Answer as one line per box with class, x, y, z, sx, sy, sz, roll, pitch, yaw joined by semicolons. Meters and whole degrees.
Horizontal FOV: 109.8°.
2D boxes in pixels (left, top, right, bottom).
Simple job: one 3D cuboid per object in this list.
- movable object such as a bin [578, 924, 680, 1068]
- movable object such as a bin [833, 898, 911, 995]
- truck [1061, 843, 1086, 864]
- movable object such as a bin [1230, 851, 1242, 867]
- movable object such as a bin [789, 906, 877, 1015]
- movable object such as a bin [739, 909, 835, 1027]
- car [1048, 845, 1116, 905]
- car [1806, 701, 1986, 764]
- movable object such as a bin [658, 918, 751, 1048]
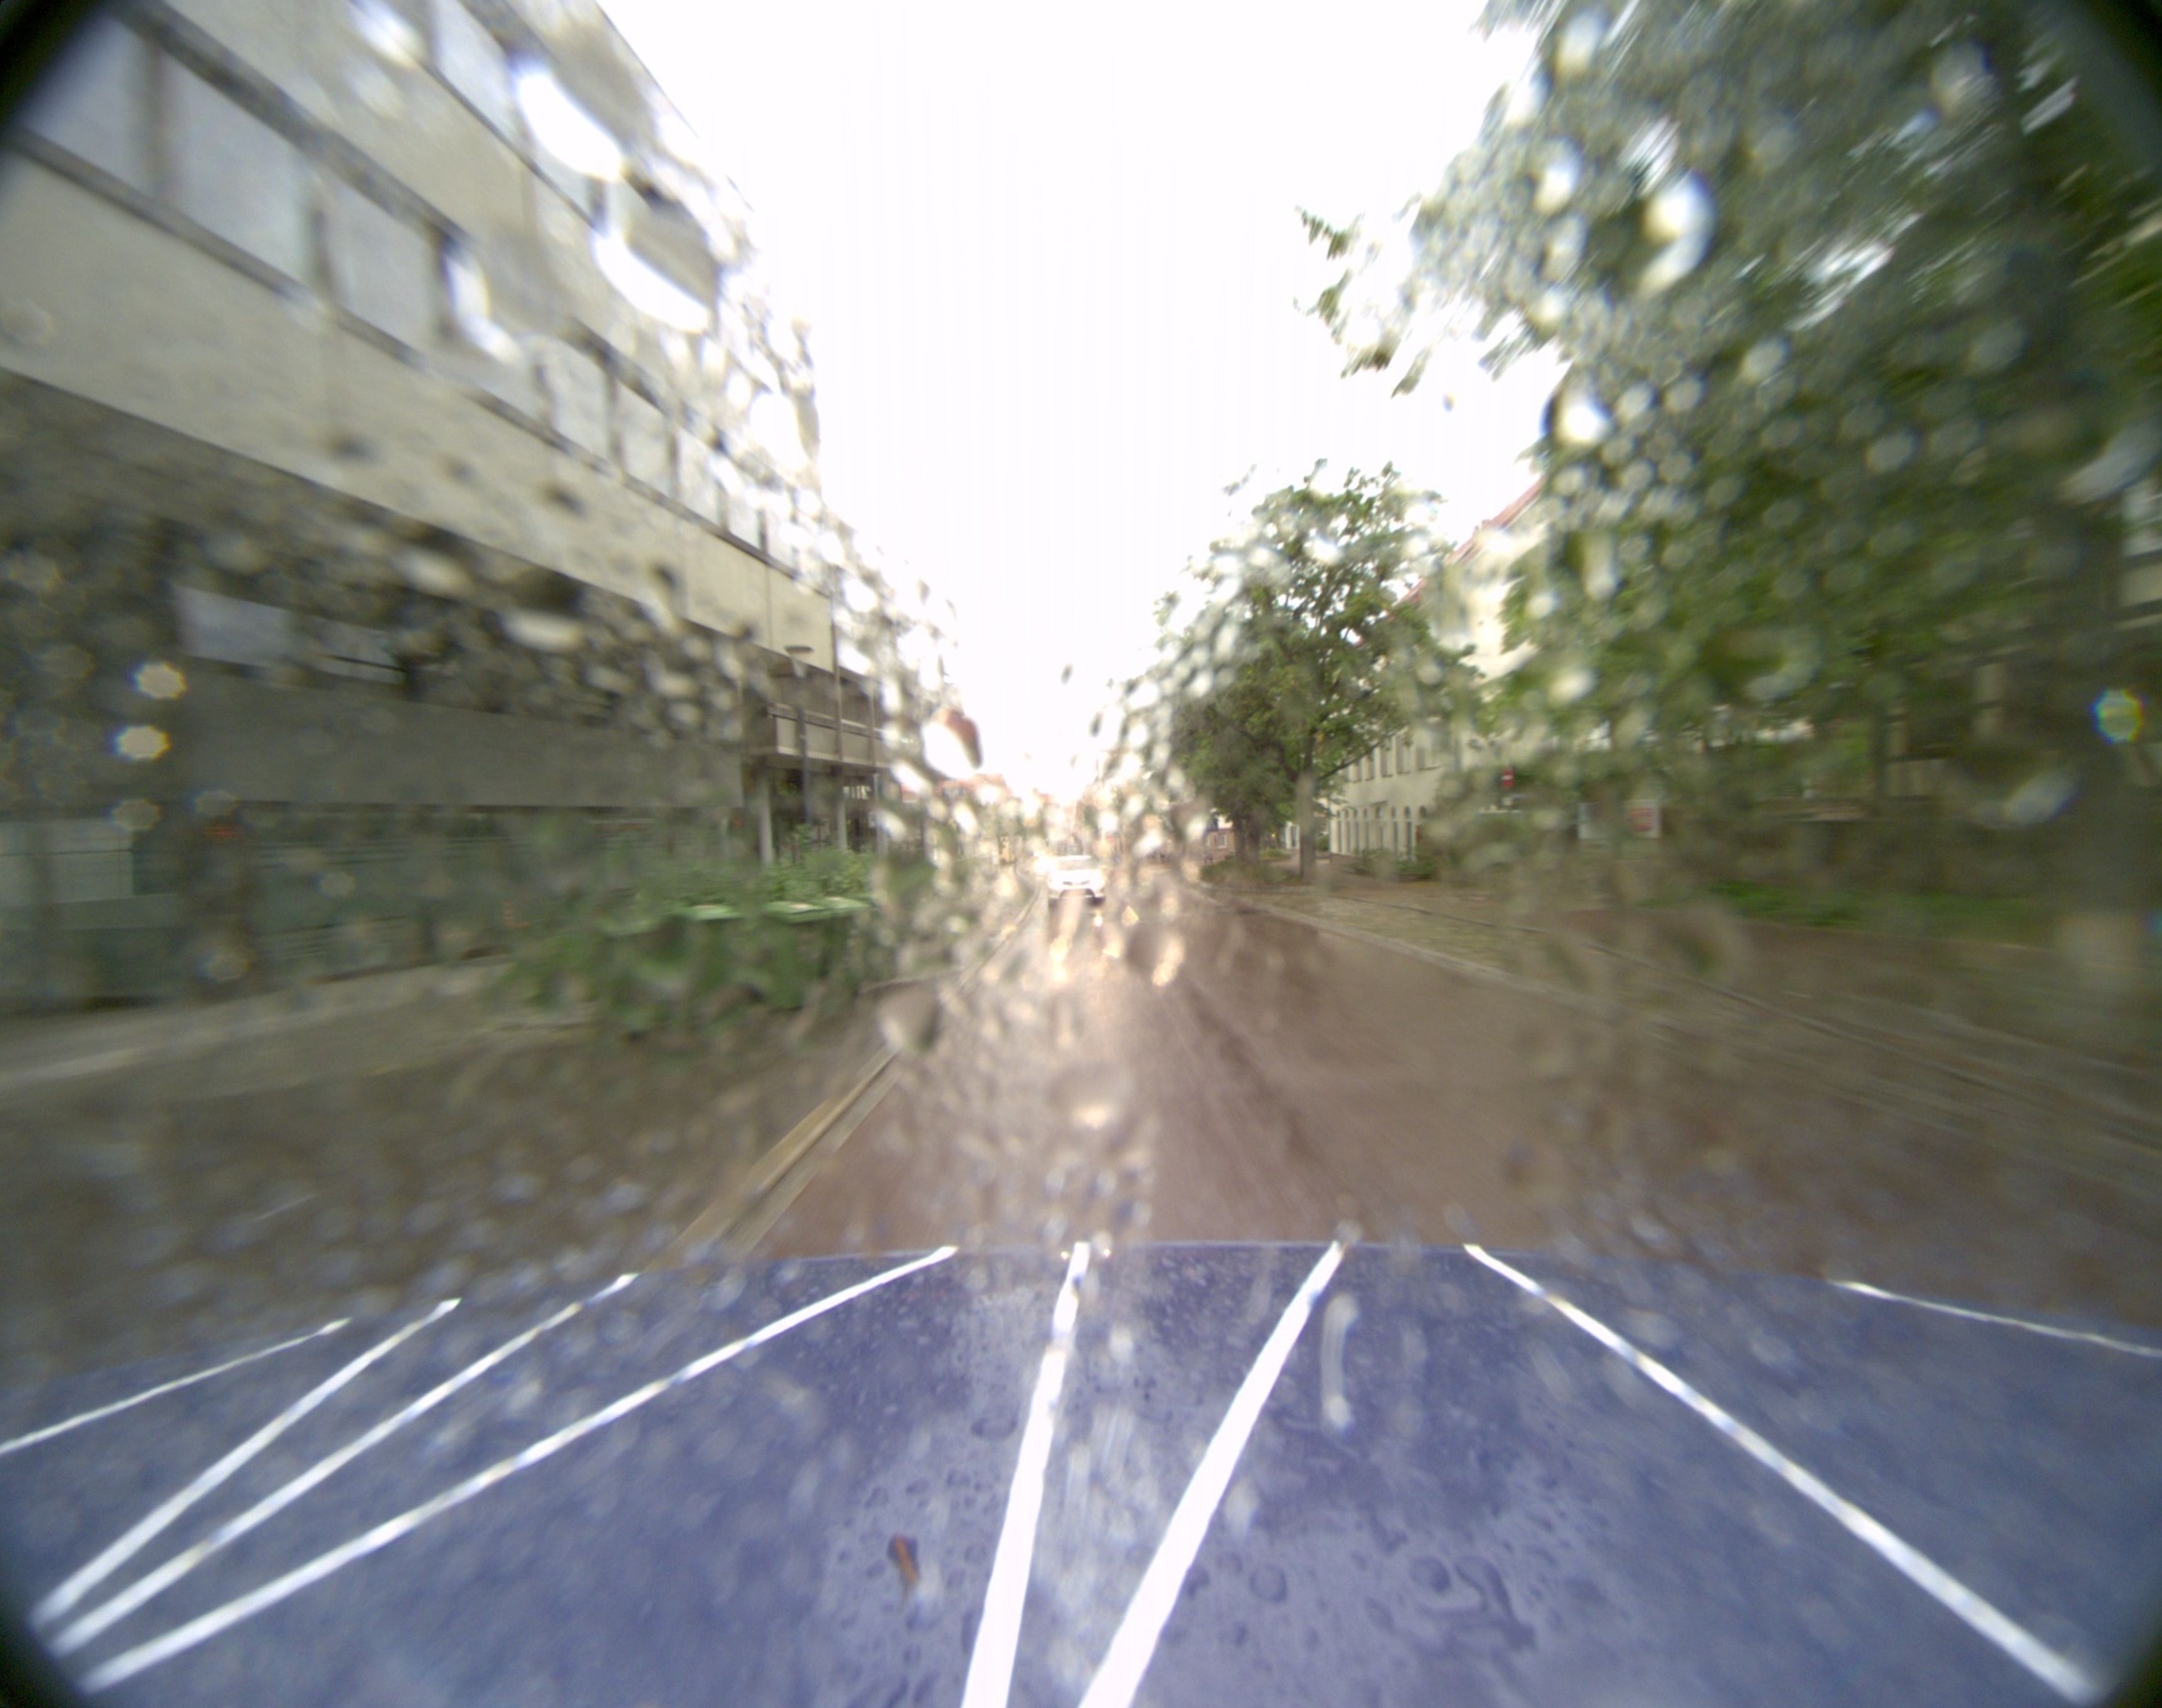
movable object such as a bin;-4.004;1.219;6.727;0.704;1.096;0.572;0;3;44
movable object such as a bin;-2.586;1.124;9.441;0.704;1.118;0.572;-1;2;17
truck;-1.037;-0.056;100.890;2.407;2.579;6.480;-3;-1;-7
movable object such as a bin;10.493;0.354;51.471;0.634;1.053;0.699;-1;2;20
movable object such as a bin;-2.778;1.172;8.534;0.704;1.101;0.572;0;2;28
movable object such as a bin;-3.065;1.165;7.942;0.704;1.104;0.572;0;2;26
car;-0.069;0.583;24.305;1.868;1.578;4.612;-3;2;-3
car;26.122;-3.859;24.536;1.616;1.336;3.637;-8;3;-9
movable object such as a bin;-3.662;1.215;7.386;0.704;1.096;0.572;0;3;44
